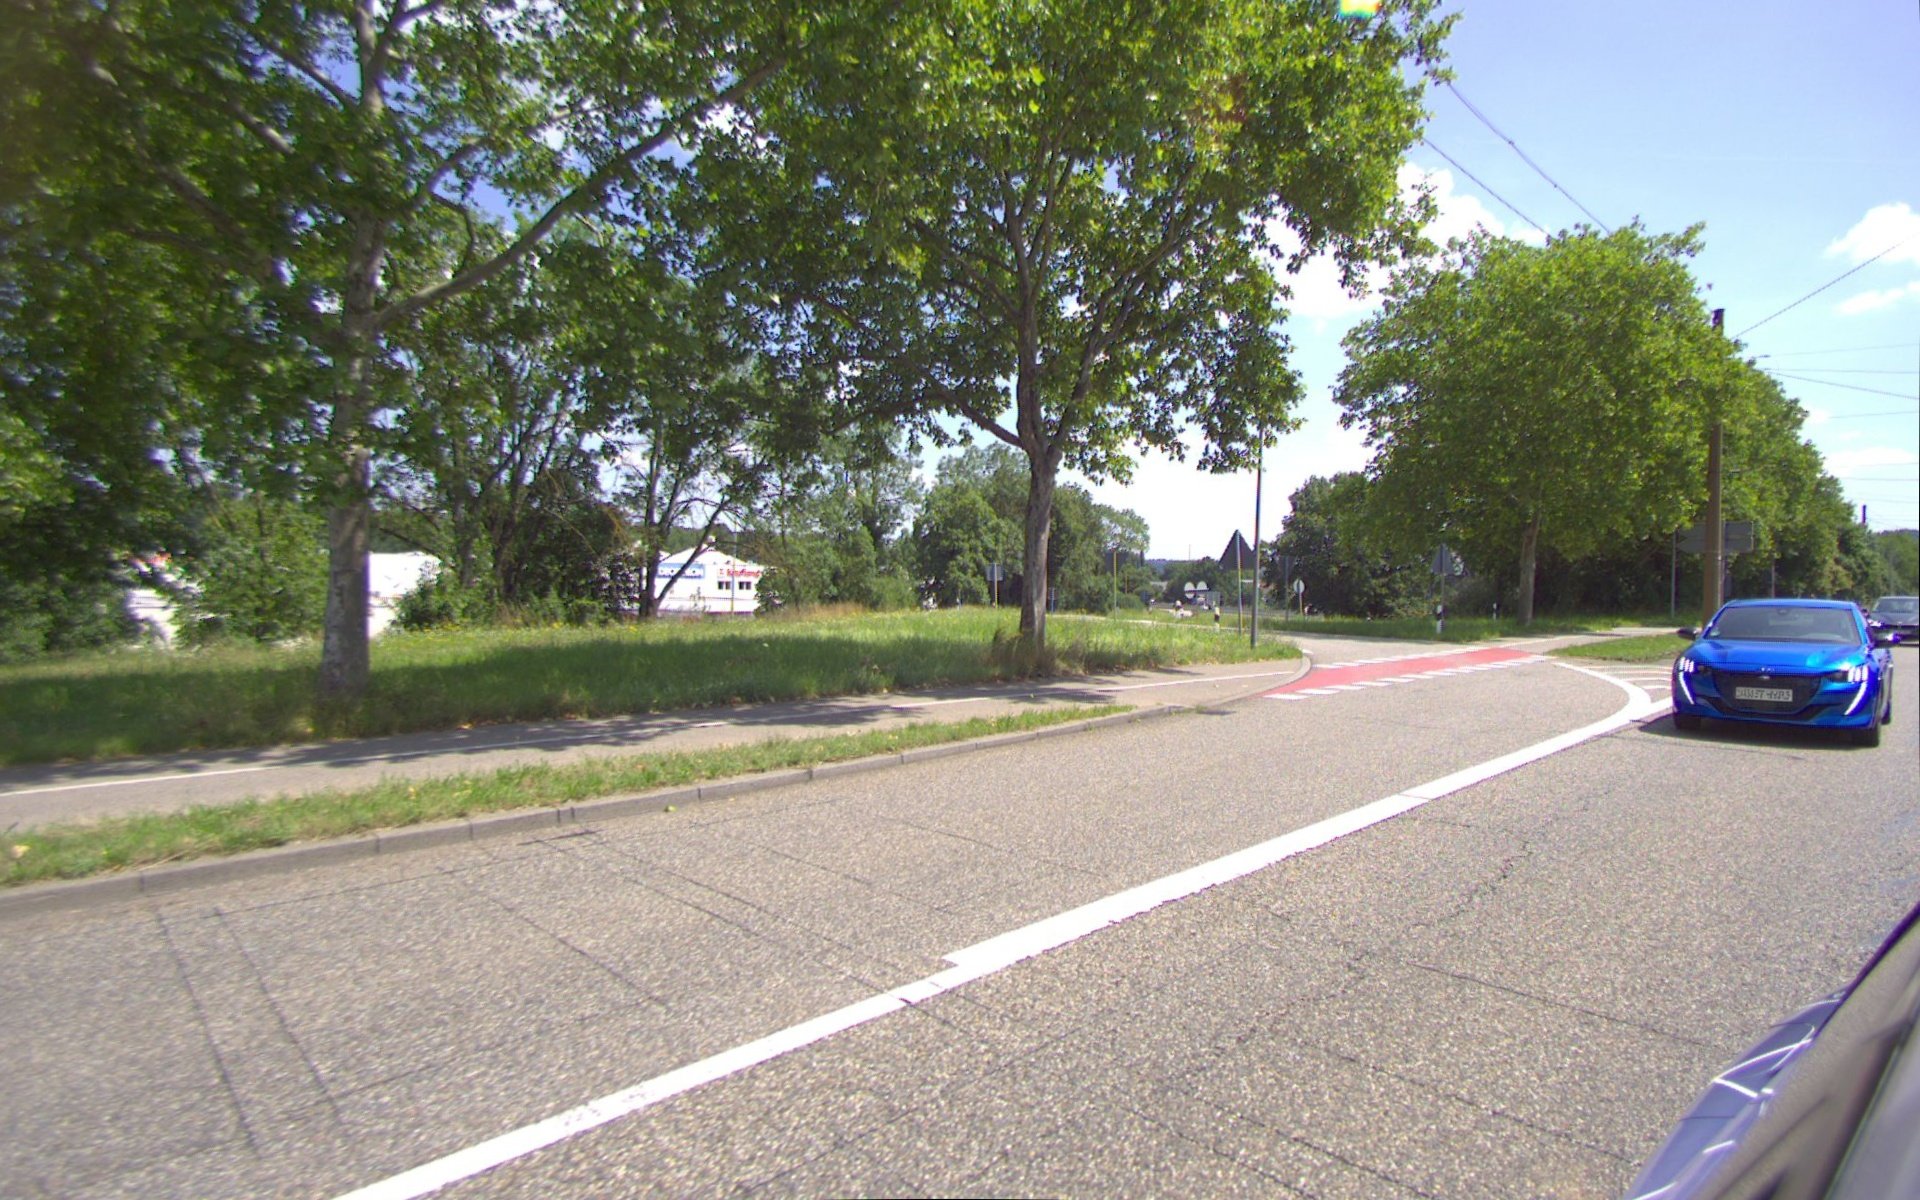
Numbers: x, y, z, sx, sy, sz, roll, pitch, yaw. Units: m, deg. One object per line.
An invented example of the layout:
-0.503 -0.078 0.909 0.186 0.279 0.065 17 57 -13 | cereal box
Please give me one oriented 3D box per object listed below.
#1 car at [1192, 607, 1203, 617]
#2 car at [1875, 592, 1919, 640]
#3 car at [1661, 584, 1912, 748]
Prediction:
54.550 2.821 232.435 1.973 2.038 4.539 1 1 17 | car
30.274 0.476 32.011 3.935 1.448 1.768 0 1 -45 | car
9.451 0.591 11.434 4.394 1.490 1.768 0 1 -45 | car
